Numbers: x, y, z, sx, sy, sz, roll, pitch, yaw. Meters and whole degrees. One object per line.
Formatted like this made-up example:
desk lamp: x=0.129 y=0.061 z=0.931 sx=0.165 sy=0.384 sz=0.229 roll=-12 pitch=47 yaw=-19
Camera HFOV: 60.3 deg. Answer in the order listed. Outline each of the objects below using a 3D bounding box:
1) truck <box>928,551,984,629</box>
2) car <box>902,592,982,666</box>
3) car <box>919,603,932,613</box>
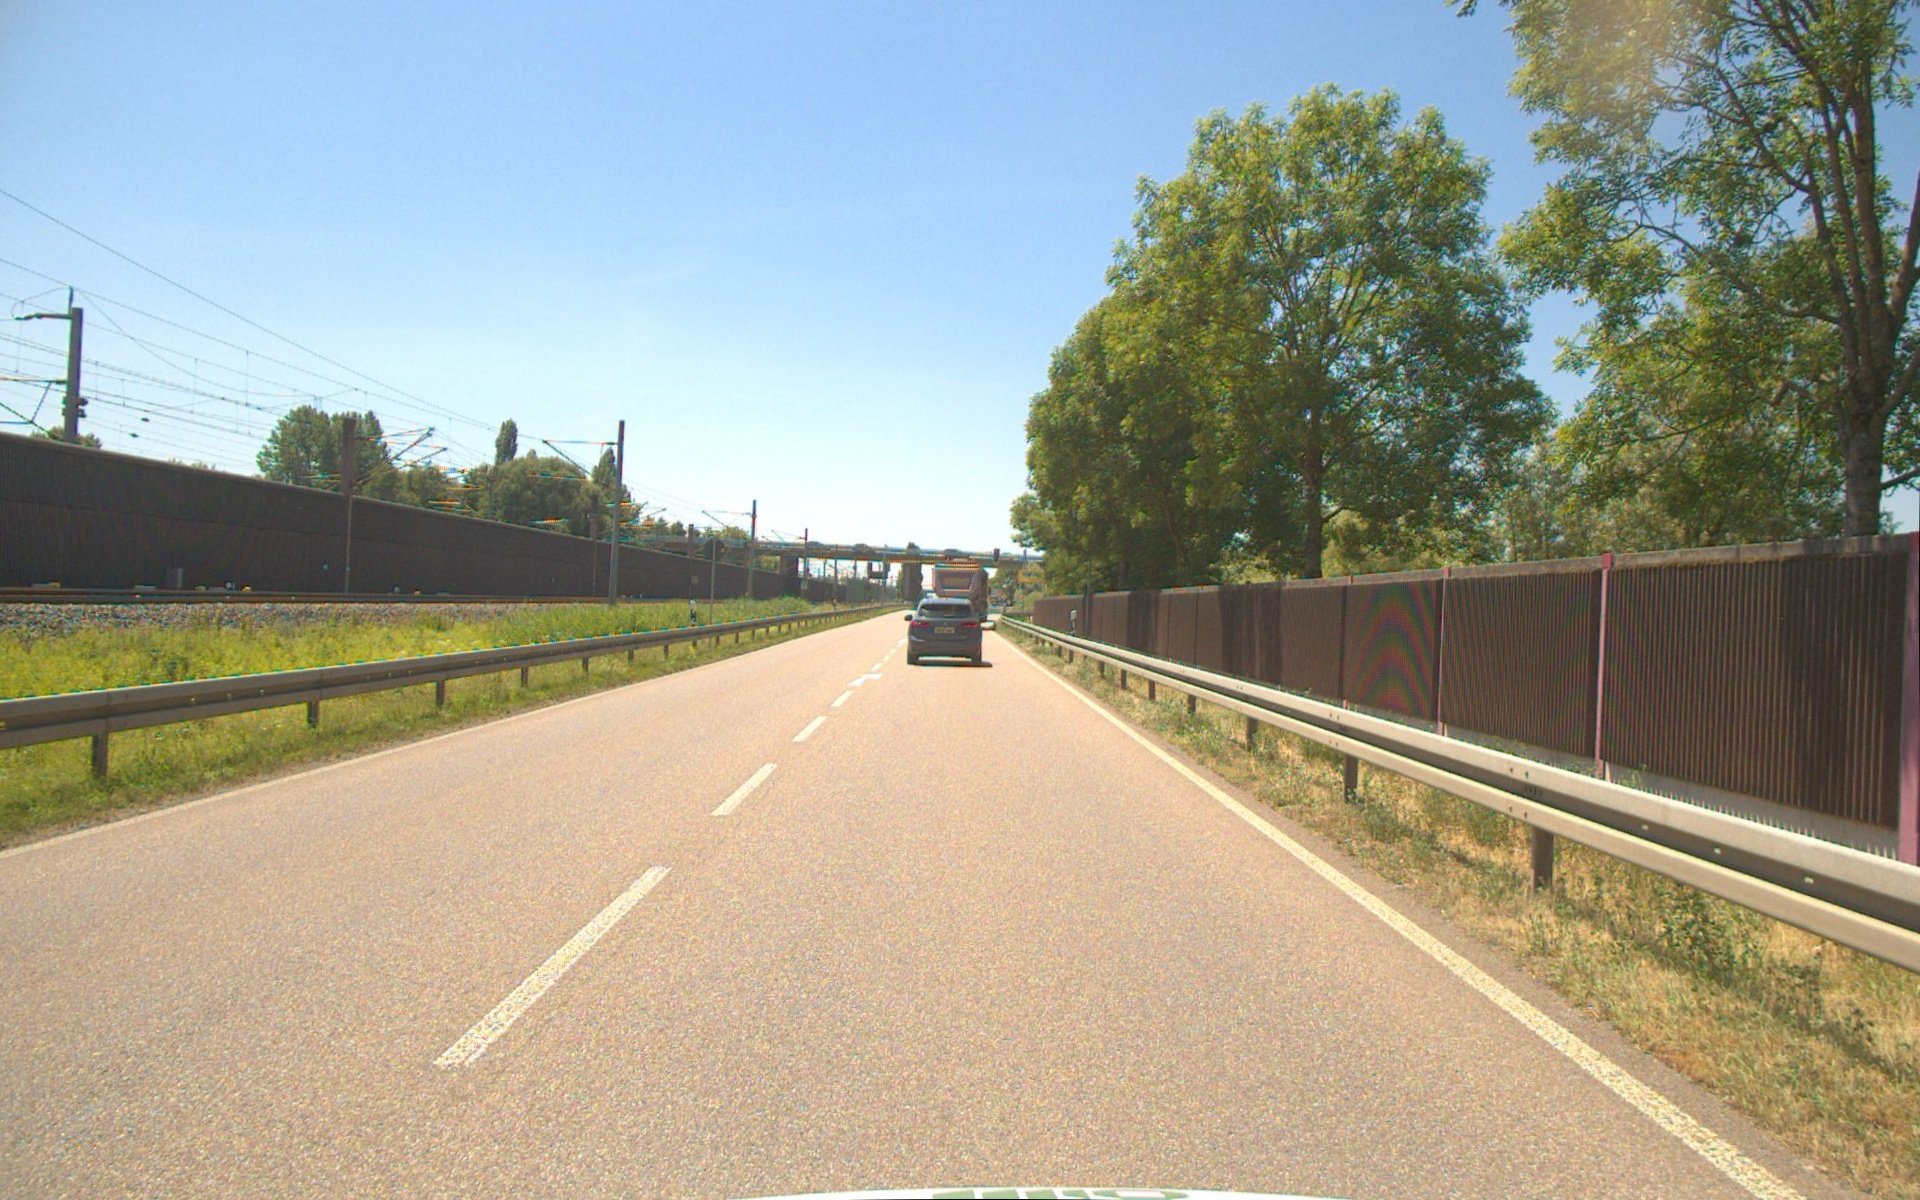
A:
truck: x=-0.192 y=-0.496 z=90.796 sx=2.775 sy=3.888 sz=11.884 roll=1 pitch=0 yaw=0
car: x=-0.463 y=0.679 z=40.225 sx=1.807 sy=1.651 sz=4.224 roll=1 pitch=0 yaw=-1
car: x=-5.310 y=1.208 z=254.590 sx=1.828 sy=1.511 sz=4.883 roll=1 pitch=0 yaw=-4
